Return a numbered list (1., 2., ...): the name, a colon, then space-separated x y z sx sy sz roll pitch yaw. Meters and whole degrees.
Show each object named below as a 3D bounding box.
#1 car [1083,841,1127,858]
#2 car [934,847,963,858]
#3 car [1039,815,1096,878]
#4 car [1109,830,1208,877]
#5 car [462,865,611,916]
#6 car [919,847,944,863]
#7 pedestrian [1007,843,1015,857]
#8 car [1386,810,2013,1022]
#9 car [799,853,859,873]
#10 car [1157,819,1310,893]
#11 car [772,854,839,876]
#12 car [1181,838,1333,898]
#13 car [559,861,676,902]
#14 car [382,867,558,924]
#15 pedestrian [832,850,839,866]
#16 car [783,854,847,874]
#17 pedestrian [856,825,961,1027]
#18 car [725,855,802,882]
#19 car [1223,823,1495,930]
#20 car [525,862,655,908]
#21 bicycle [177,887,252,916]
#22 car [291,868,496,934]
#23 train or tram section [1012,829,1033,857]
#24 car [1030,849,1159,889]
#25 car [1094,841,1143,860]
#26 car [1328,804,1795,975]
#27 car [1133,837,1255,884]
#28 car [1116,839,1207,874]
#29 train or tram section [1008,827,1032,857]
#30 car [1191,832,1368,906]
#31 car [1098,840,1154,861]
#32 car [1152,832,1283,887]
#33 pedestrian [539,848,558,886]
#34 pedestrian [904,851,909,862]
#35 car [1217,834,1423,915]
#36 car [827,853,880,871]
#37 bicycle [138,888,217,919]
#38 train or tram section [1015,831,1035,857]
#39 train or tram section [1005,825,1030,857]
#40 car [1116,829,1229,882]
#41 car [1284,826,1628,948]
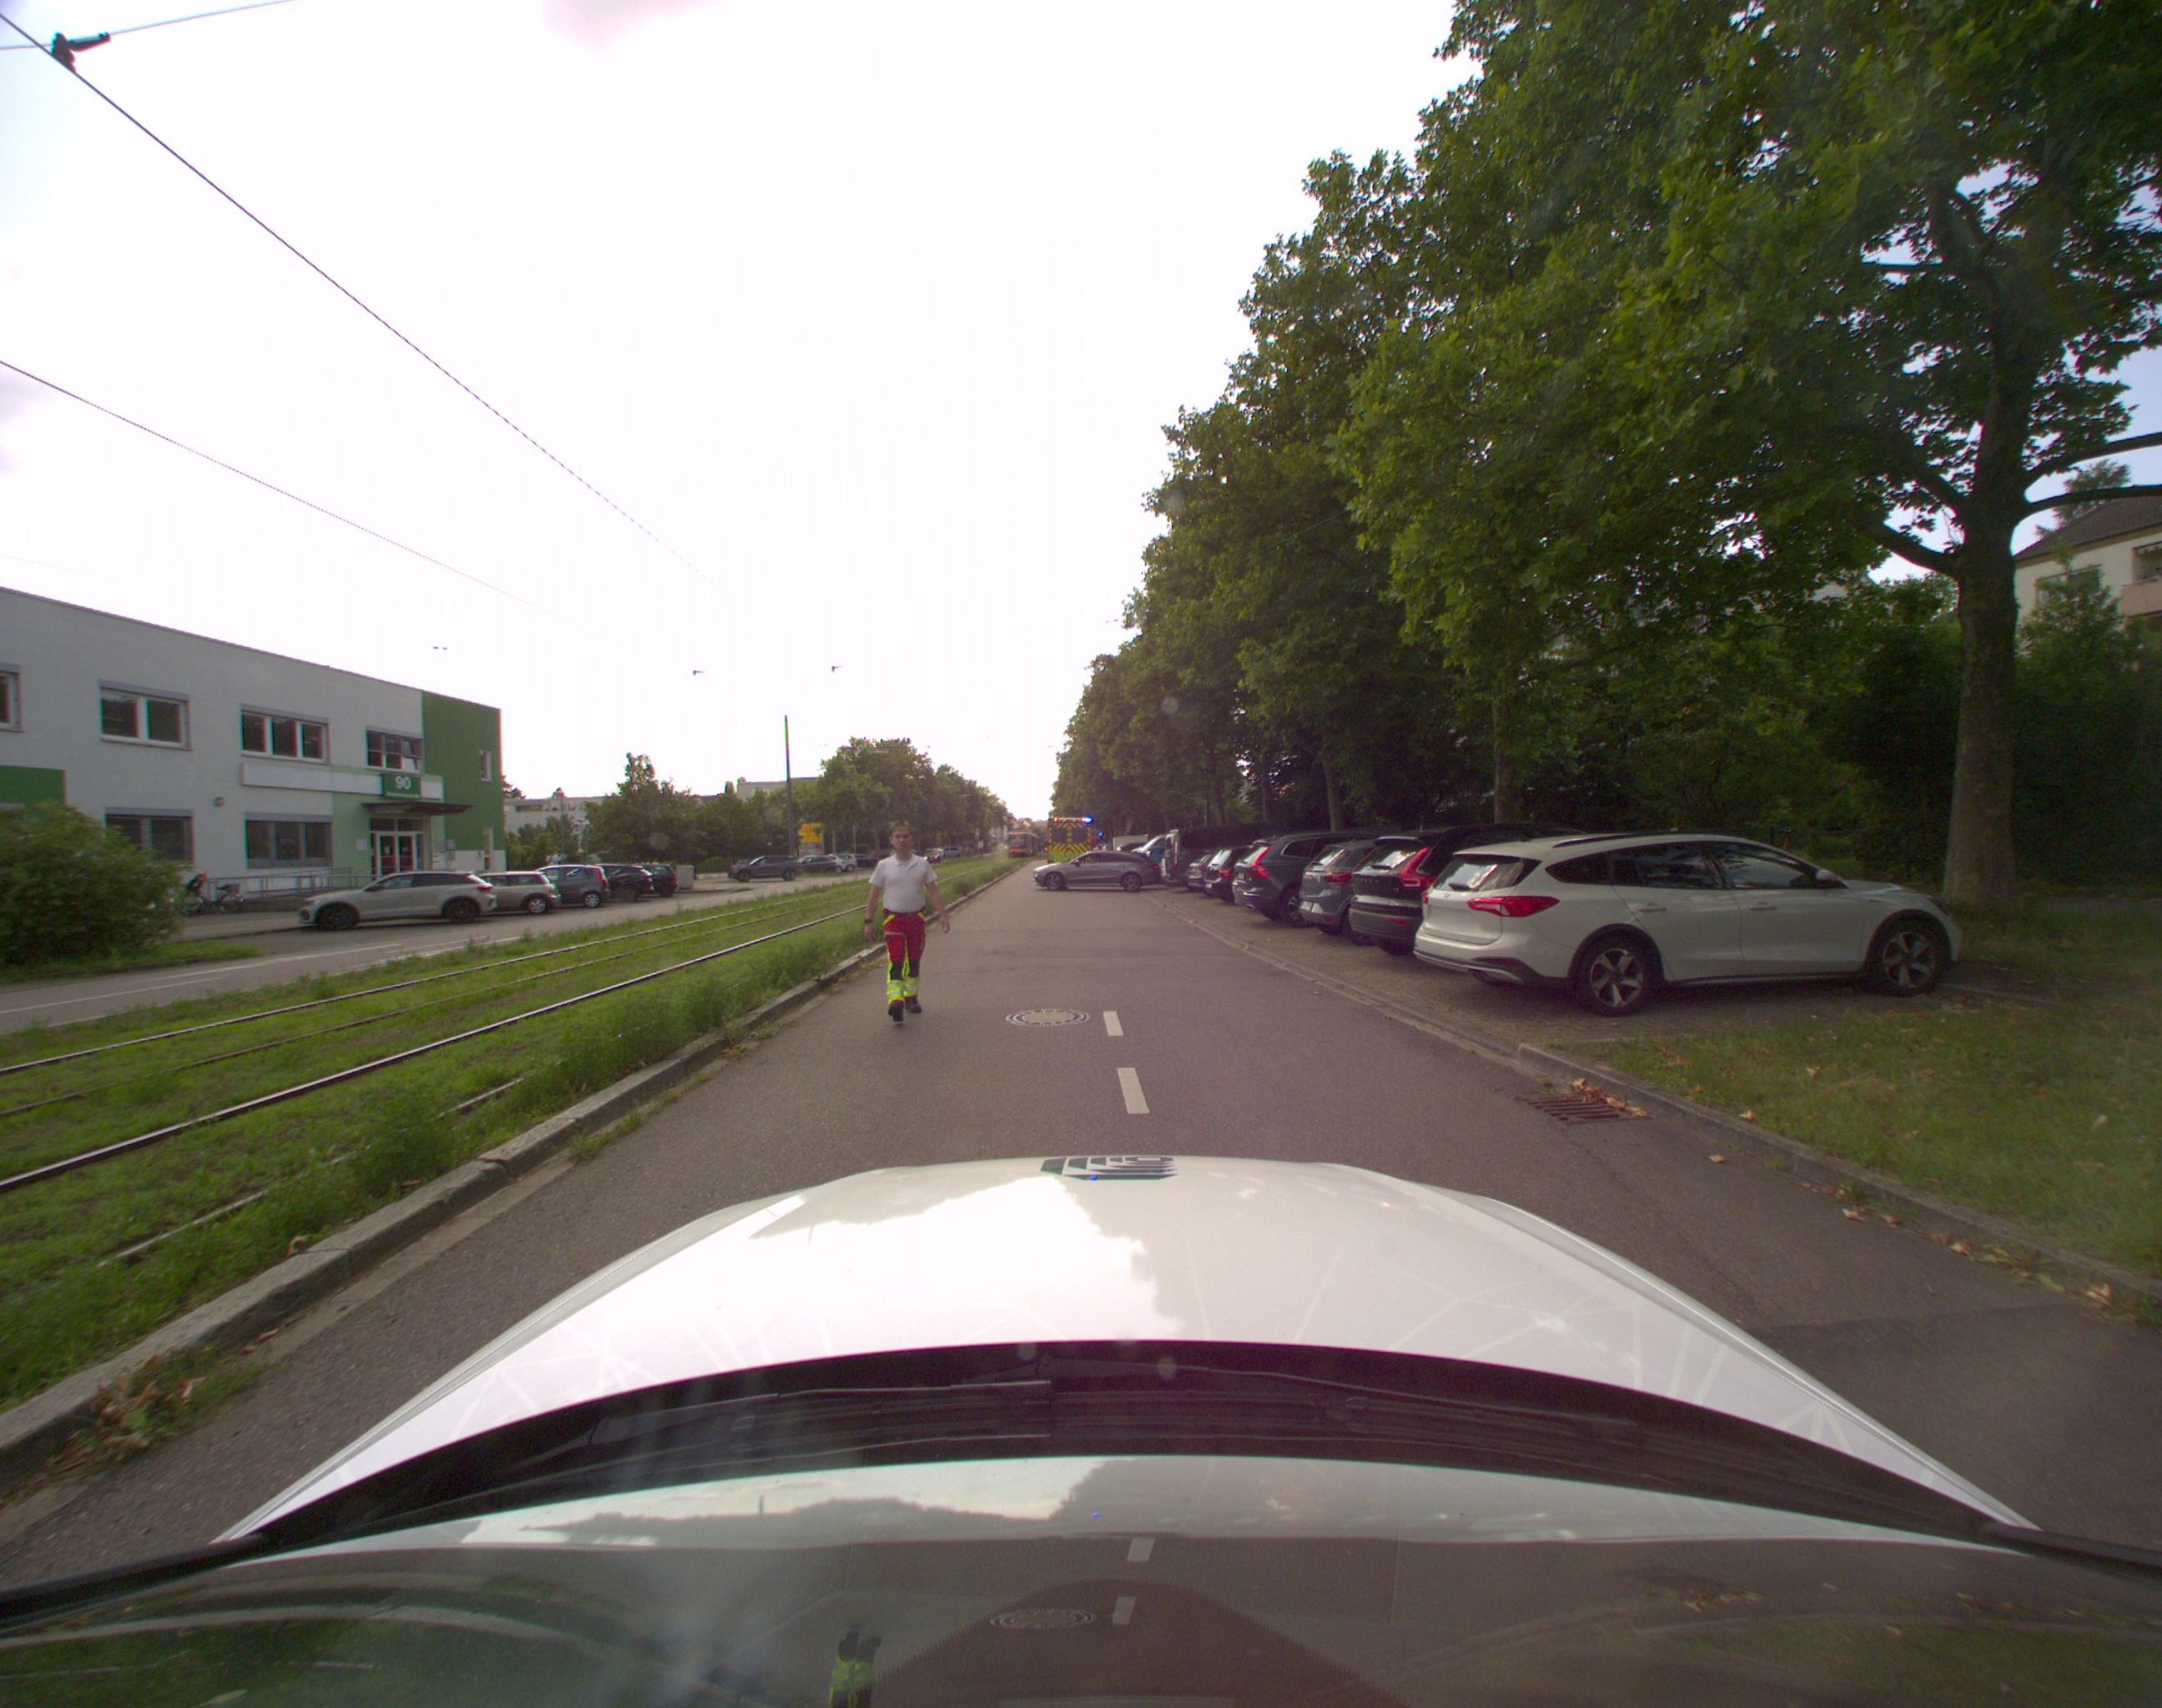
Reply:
1. car: 2.590 -0.470 88.411 4.539 1.608 1.852 -3 0 -6
2. car: -22.508 -0.225 138.333 4.653 1.633 1.861 -3 1 -41
3. car: -0.640 -0.364 42.042 2.633 2.966 6.299 1 0 0
4. car: 3.774 -0.055 40.179 4.539 2.043 1.852 -3 0 -6
5. car: -19.266 1.239 29.059 4.249 1.482 1.865 -3 1 -31
6. car: -16.362 0.120 89.180 1.989 1.557 4.366 -3 1 -2
7. pedestrian: -8.007 -0.458 93.622 0.878 1.525 0.750 0 -1 -2
8. car: 5.524 0.471 7.616 4.652 1.473 1.844 -3 1 -6
9. car: -20.274 0.730 65.675 4.255 1.482 1.862 -1 0 -38
10. car: 4.889 0.051 26.527 4.534 2.123 1.854 -3 0 -3
11. car: -20.161 0.790 59.681 4.255 1.482 1.862 -1 0 -38
12. car: 5.010 0.386 23.532 3.956 1.494 1.754 -3 0 -3
13. car: -19.925 1.128 35.109 4.249 1.482 1.865 -3 1 -31
14. car: -19.303 1.261 26.002 4.249 1.482 1.865 -3 1 -31
15. pedestrian: -25.507 0.386 84.669 0.465 1.676 0.602 -2 0 -3
16. car: -20.432 0.742 62.628 4.255 1.482 1.862 -1 0 -38
17. pedestrian: -1.573 0.600 7.358 0.806 1.686 0.846 -1 0 -19
18. car: -19.351 0.863 49.643 4.244 1.482 1.867 -1 0 -27
19. car: 4.990 0.385 15.026 4.367 1.639 1.756 -3 0 0
20. car: -19.284 1.174 32.164 4.249 1.482 1.865 -3 1 -31
21. bicycle: -27.768 1.509 26.120 1.853 0.899 0.458 0 -1 -2
22. car: -19.230 1.256 23.094 4.254 1.482 1.863 -3 1 -36
23. train or tram section: -8.074 -1.472 113.134 2.505 3.584 7.439 -3 0 -2
24. car: 0.518 0.517 29.265 4.428 1.385 1.771 0 0 8
25. car: 3.652 -0.374 80.215 4.539 1.608 1.852 -3 0 -6
26. car: 5.625 0.353 9.853 4.652 1.626 1.844 -3 1 -6
27. car: 4.541 0.246 33.077 4.541 1.660 1.852 -3 0 -7
28. car: 4.253 0.143 43.670 4.539 1.608 1.852 -3 0 -6
29. train or tram section: -7.845 -1.503 105.697 2.505 3.584 7.439 -3 0 -2
30. car: 5.003 0.345 20.679 3.969 1.605 1.749 -3 0 -12
31. car: 3.846 -0.287 70.371 4.539 1.608 1.852 -3 0 -6
32. car: 5.052 0.181 30.563 4.534 1.766 1.854 -3 0 -3
33. pedestrian: -26.525 0.639 40.545 0.545 1.828 0.508 -2 0 -4
34. pedestrian: -24.404 0.345 113.838 0.417 1.414 0.470 -2 0 23
35. car: 5.176 0.416 17.957 3.956 1.494 1.754 -3 0 -3
36. car: -20.647 0.697 73.867 4.258 1.482 1.861 -1 0 -41
37. bicycle: -27.791 1.513 25.062 1.853 0.899 0.458 0 -1 -2
38. train or tram section: -8.297 -1.441 120.568 2.505 3.584 7.439 -3 0 -2
39. train or tram section: -7.607 -1.534 98.274 2.505 3.584 7.439 -3 0 -2
40. car: 3.943 0.048 35.591 4.539 2.000 1.852 -3 0 -6
41. car: 5.493 0.449 12.325 4.367 1.501 1.756 -3 1 0
